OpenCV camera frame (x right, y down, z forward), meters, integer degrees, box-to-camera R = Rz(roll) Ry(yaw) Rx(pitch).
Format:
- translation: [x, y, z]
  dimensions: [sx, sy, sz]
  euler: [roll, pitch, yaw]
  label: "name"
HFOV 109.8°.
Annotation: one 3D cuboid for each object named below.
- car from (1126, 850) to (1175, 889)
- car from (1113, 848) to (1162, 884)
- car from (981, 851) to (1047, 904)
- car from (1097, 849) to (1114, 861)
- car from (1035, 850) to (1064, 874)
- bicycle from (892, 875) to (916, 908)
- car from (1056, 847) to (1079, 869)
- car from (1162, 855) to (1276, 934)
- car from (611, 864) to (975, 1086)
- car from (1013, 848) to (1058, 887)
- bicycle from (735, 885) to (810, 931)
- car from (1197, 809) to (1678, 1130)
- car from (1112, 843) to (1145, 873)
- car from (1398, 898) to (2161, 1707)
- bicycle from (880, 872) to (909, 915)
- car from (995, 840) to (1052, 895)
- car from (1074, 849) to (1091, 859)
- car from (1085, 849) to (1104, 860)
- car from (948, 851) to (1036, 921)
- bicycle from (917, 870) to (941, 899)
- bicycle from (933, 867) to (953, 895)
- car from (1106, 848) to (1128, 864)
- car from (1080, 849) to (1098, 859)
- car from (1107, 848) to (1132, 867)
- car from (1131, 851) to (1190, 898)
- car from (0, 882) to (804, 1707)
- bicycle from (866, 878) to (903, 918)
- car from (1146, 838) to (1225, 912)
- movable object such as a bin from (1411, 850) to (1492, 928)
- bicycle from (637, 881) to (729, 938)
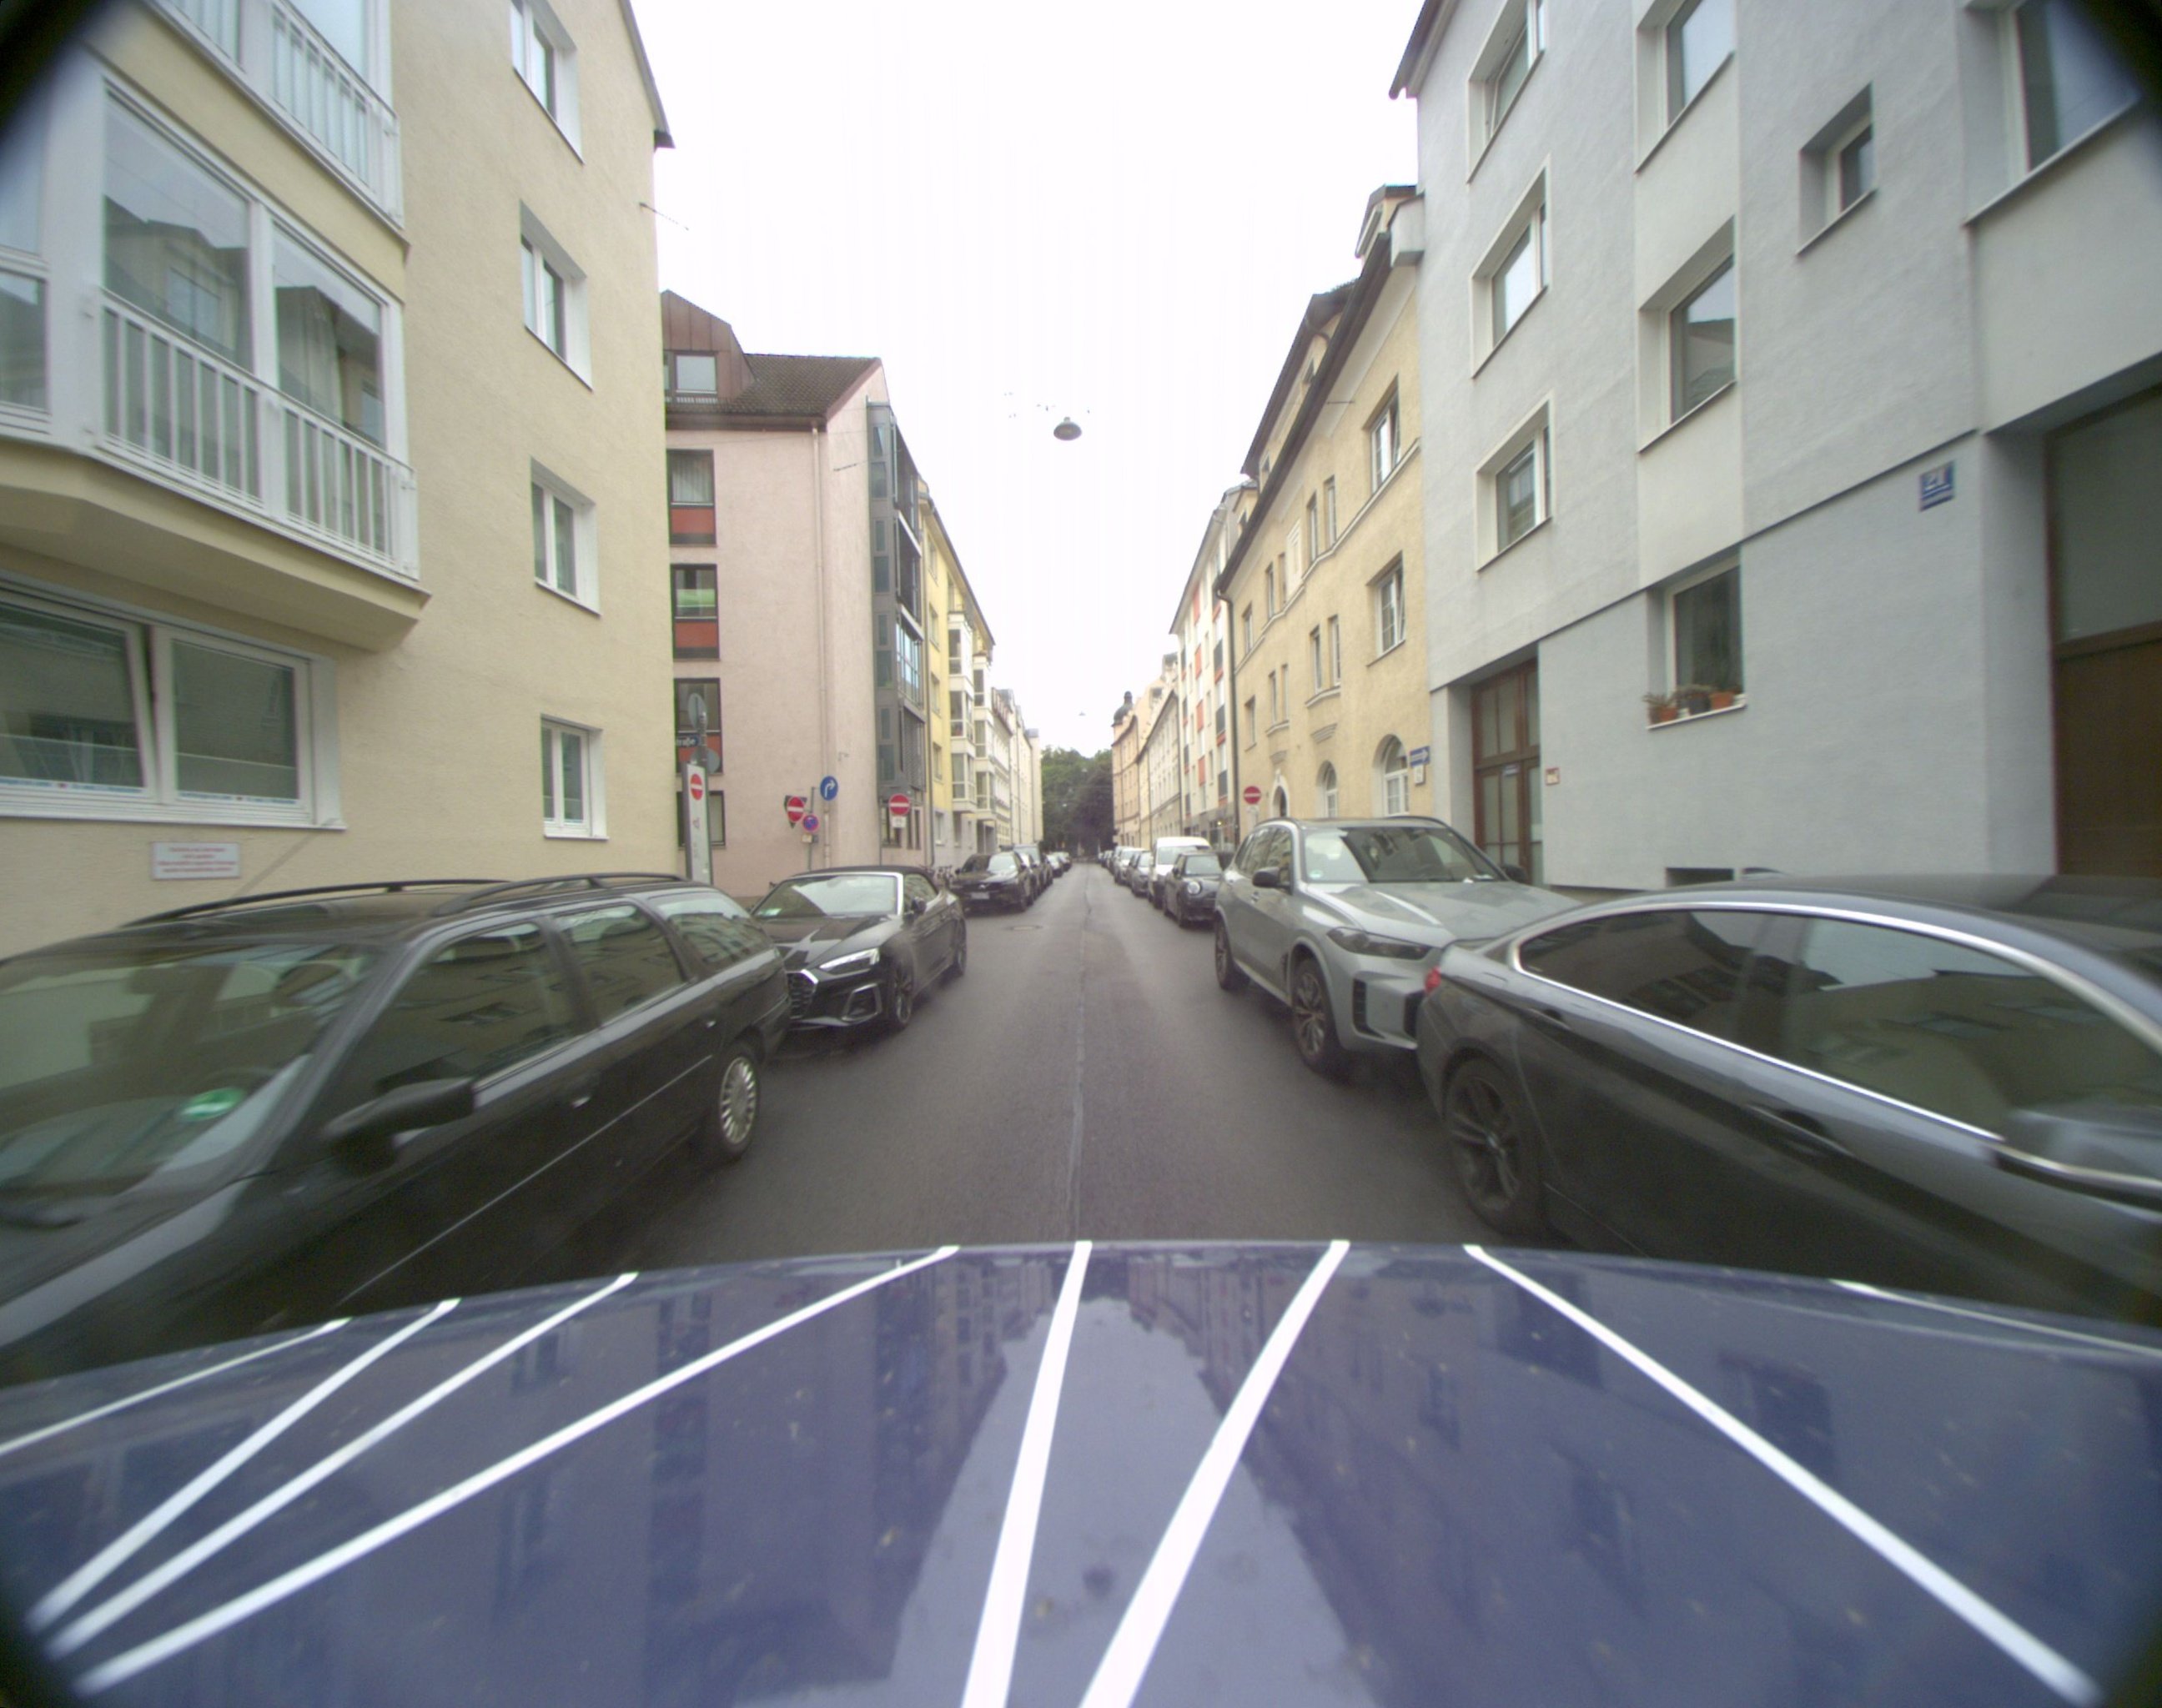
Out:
- translation: [2.751, 0.581, 30.751]
  dimensions: [1.632, 1.467, 3.841]
  euler: [0, 0, 0]
  label: "car"
- translation: [2.553, 0.511, 35.420]
  dimensions: [1.786, 1.596, 4.307]
  euler: [0, 0, -3]
  label: "car"
- translation: [-2.261, 0.747, 26.624]
  dimensions: [1.837, 1.612, 4.323]
  euler: [-3, 1, 0]
  label: "car"
- translation: [3.023, 0.140, 94.003]
  dimensions: [1.951, 1.470, 3.979]
  euler: [0, 1, 1]
  label: "car"
- translation: [-2.095, 0.505, 50.127]
  dimensions: [1.749, 1.433, 4.227]
  euler: [-3, 1, -4]
  label: "car"
- translation: [-5.362, 1.127, 23.024]
  dimensions: [0.358, 0.942, 1.269]
  euler: [-2, 0, 1]
  label: "bicycle"
- translation: [-1.135, 0.307, 65.117]
  dimensions: [1.739, 1.743, 3.685]
  euler: [-3, 1, 0]
  label: "car"
- translation: [2.643, 0.721, 15.324]
  dimensions: [1.656, 1.403, 3.735]
  euler: [0, 0, 0]
  label: "car"
- translation: [-2.407, 0.918, 7.734]
  dimensions: [1.837, 1.398, 4.411]
  euler: [-3, 1, 2]
  label: "car"
- translation: [-2.175, 0.605, 37.482]
  dimensions: [1.837, 1.676, 4.228]
  euler: [-3, 1, 1]
  label: "car"
- translation: [-7.082, 1.233, 17.482]
  dimensions: [1.452, 0.942, 0.552]
  euler: [-2, 1, -4]
  label: "bicycle"
- translation: [2.319, 0.638, 6.532]
  dimensions: [1.867, 1.759, 4.735]
  euler: [0, 0, -1]
  label: "car"
- translation: [3.100, 0.239, 50.307]
  dimensions: [1.951, 1.850, 4.908]
  euler: [0, 1, 1]
  label: "car"
- translation: [2.389, 0.888, 1.402]
  dimensions: [1.816, 1.378, 4.251]
  euler: [0, 0, 0]
  label: "car"
- translation: [-5.233, 1.098, 21.412]
  dimensions: [0.358, 1.115, 1.543]
  euler: [-2, 0, 1]
  label: "bicycle"
- translation: [-2.324, 0.476, 31.931]
  dimensions: [1.878, 2.002, 5.105]
  euler: [-3, 1, 0]
  label: "car"
- translation: [0.256, -0.021, 111.894]
  dimensions: [1.800, 1.501, 3.996]
  euler: [0, 1, -10]
  label: "car"
- translation: [1.865, 0.051, 103.598]
  dimensions: [1.800, 1.501, 3.996]
  euler: [0, 1, -10]
  label: "car"
- translation: [-2.341, 0.791, 21.073]
  dimensions: [1.837, 1.612, 4.410]
  euler: [-3, 1, 0]
  label: "car"
- translation: [-5.230, 1.038, 26.254]
  dimensions: [0.442, 0.942, 1.576]
  euler: [-2, 0, 1]
  label: "bicycle"
- translation: [-5.084, 0.976, 28.061]
  dimensions: [0.422, 0.970, 1.446]
  euler: [-2, 0, 1]
  label: "bicycle"
- translation: [3.407, 0.175, 72.793]
  dimensions: [1.951, 1.470, 3.979]
  euler: [0, 1, 1]
  label: "car"
- translation: [1.094, -0.006, 107.793]
  dimensions: [1.800, 1.501, 3.996]
  euler: [0, 1, -10]
  label: "car"
- translation: [3.101, 0.275, 61.828]
  dimensions: [1.951, 1.470, 3.715]
  euler: [0, 1, 1]
  label: "car"
- translation: [2.611, 0.627, 25.698]
  dimensions: [1.676, 1.467, 4.112]
  euler: [0, 1, 1]
  label: "car"
- translation: [-2.501, 0.975, 2.289]
  dimensions: [1.721, 1.463, 4.530]
  euler: [-3, 1, -2]
  label: "car"
- translation: [-5.142, 1.131, 19.953]
  dimensions: [0.552, 0.942, 1.357]
  euler: [-2, 0, 1]
  label: "bicycle"
- translation: [2.710, 0.473, 20.570]
  dimensions: [1.728, 1.779, 4.248]
  euler: [0, 2, 2]
  label: "car"
- translation: [5.486, 0.510, 11.282]
  dimensions: [0.809, 1.045, 0.622]
  euler: [-6, 1, 0]
  label: "movable object such as a bin"
- translation: [-9.045, 1.252, 17.297]
  dimensions: [1.736, 1.172, 0.552]
  euler: [-2, 1, -4]
  label: "bicycle"
